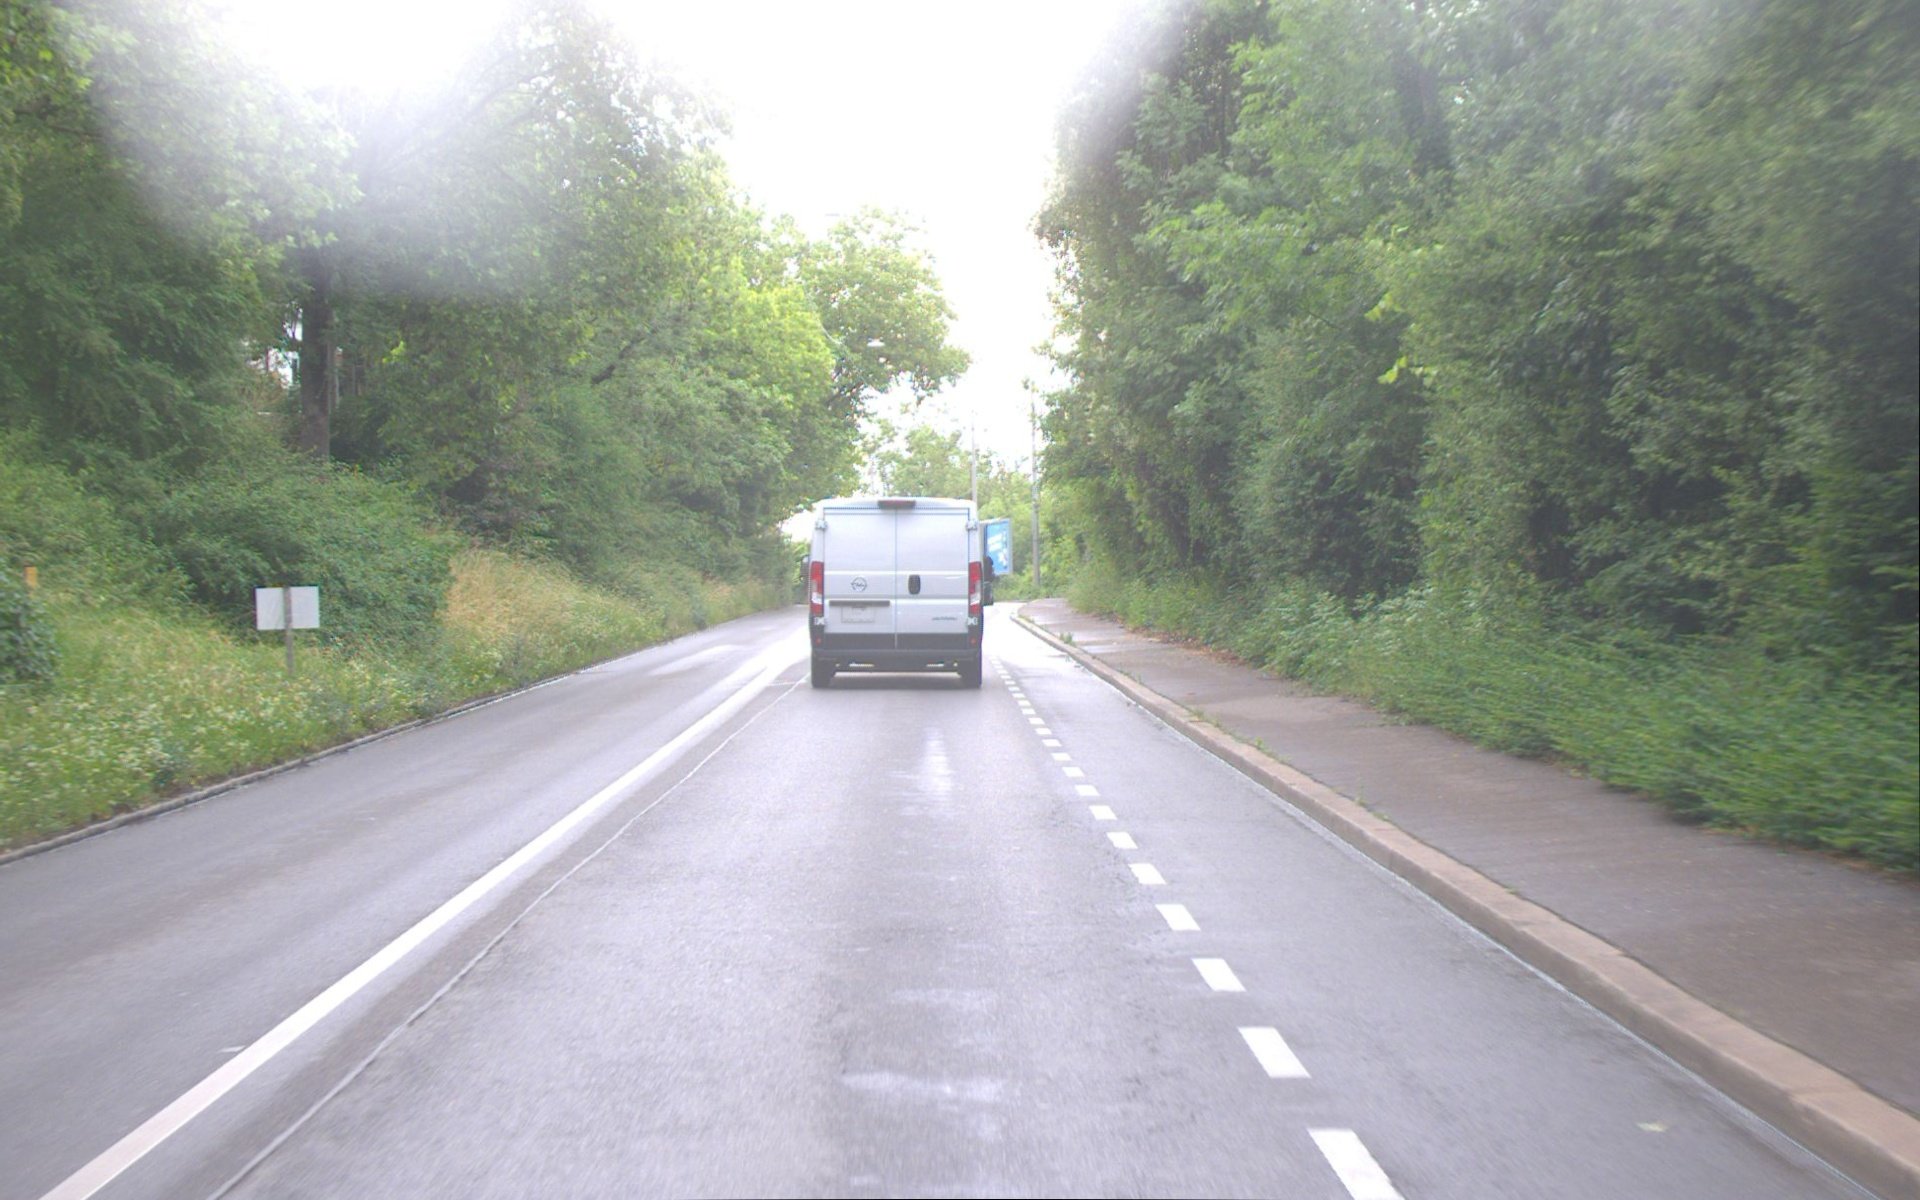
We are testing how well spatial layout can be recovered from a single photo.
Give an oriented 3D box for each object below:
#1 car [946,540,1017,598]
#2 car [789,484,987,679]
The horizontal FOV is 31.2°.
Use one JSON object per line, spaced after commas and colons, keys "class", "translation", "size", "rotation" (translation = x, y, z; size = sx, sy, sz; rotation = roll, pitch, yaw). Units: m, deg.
{"class": "car", "translation": [0.709, -1.005, 111.556], "size": [2.237, 1.798, 4.713], "rotation": [1, 1, 1]}
{"class": "car", "translation": [-0.856, -0.236, 41.805], "size": [2.237, 2.206, 4.713], "rotation": [1, 1, -1]}
